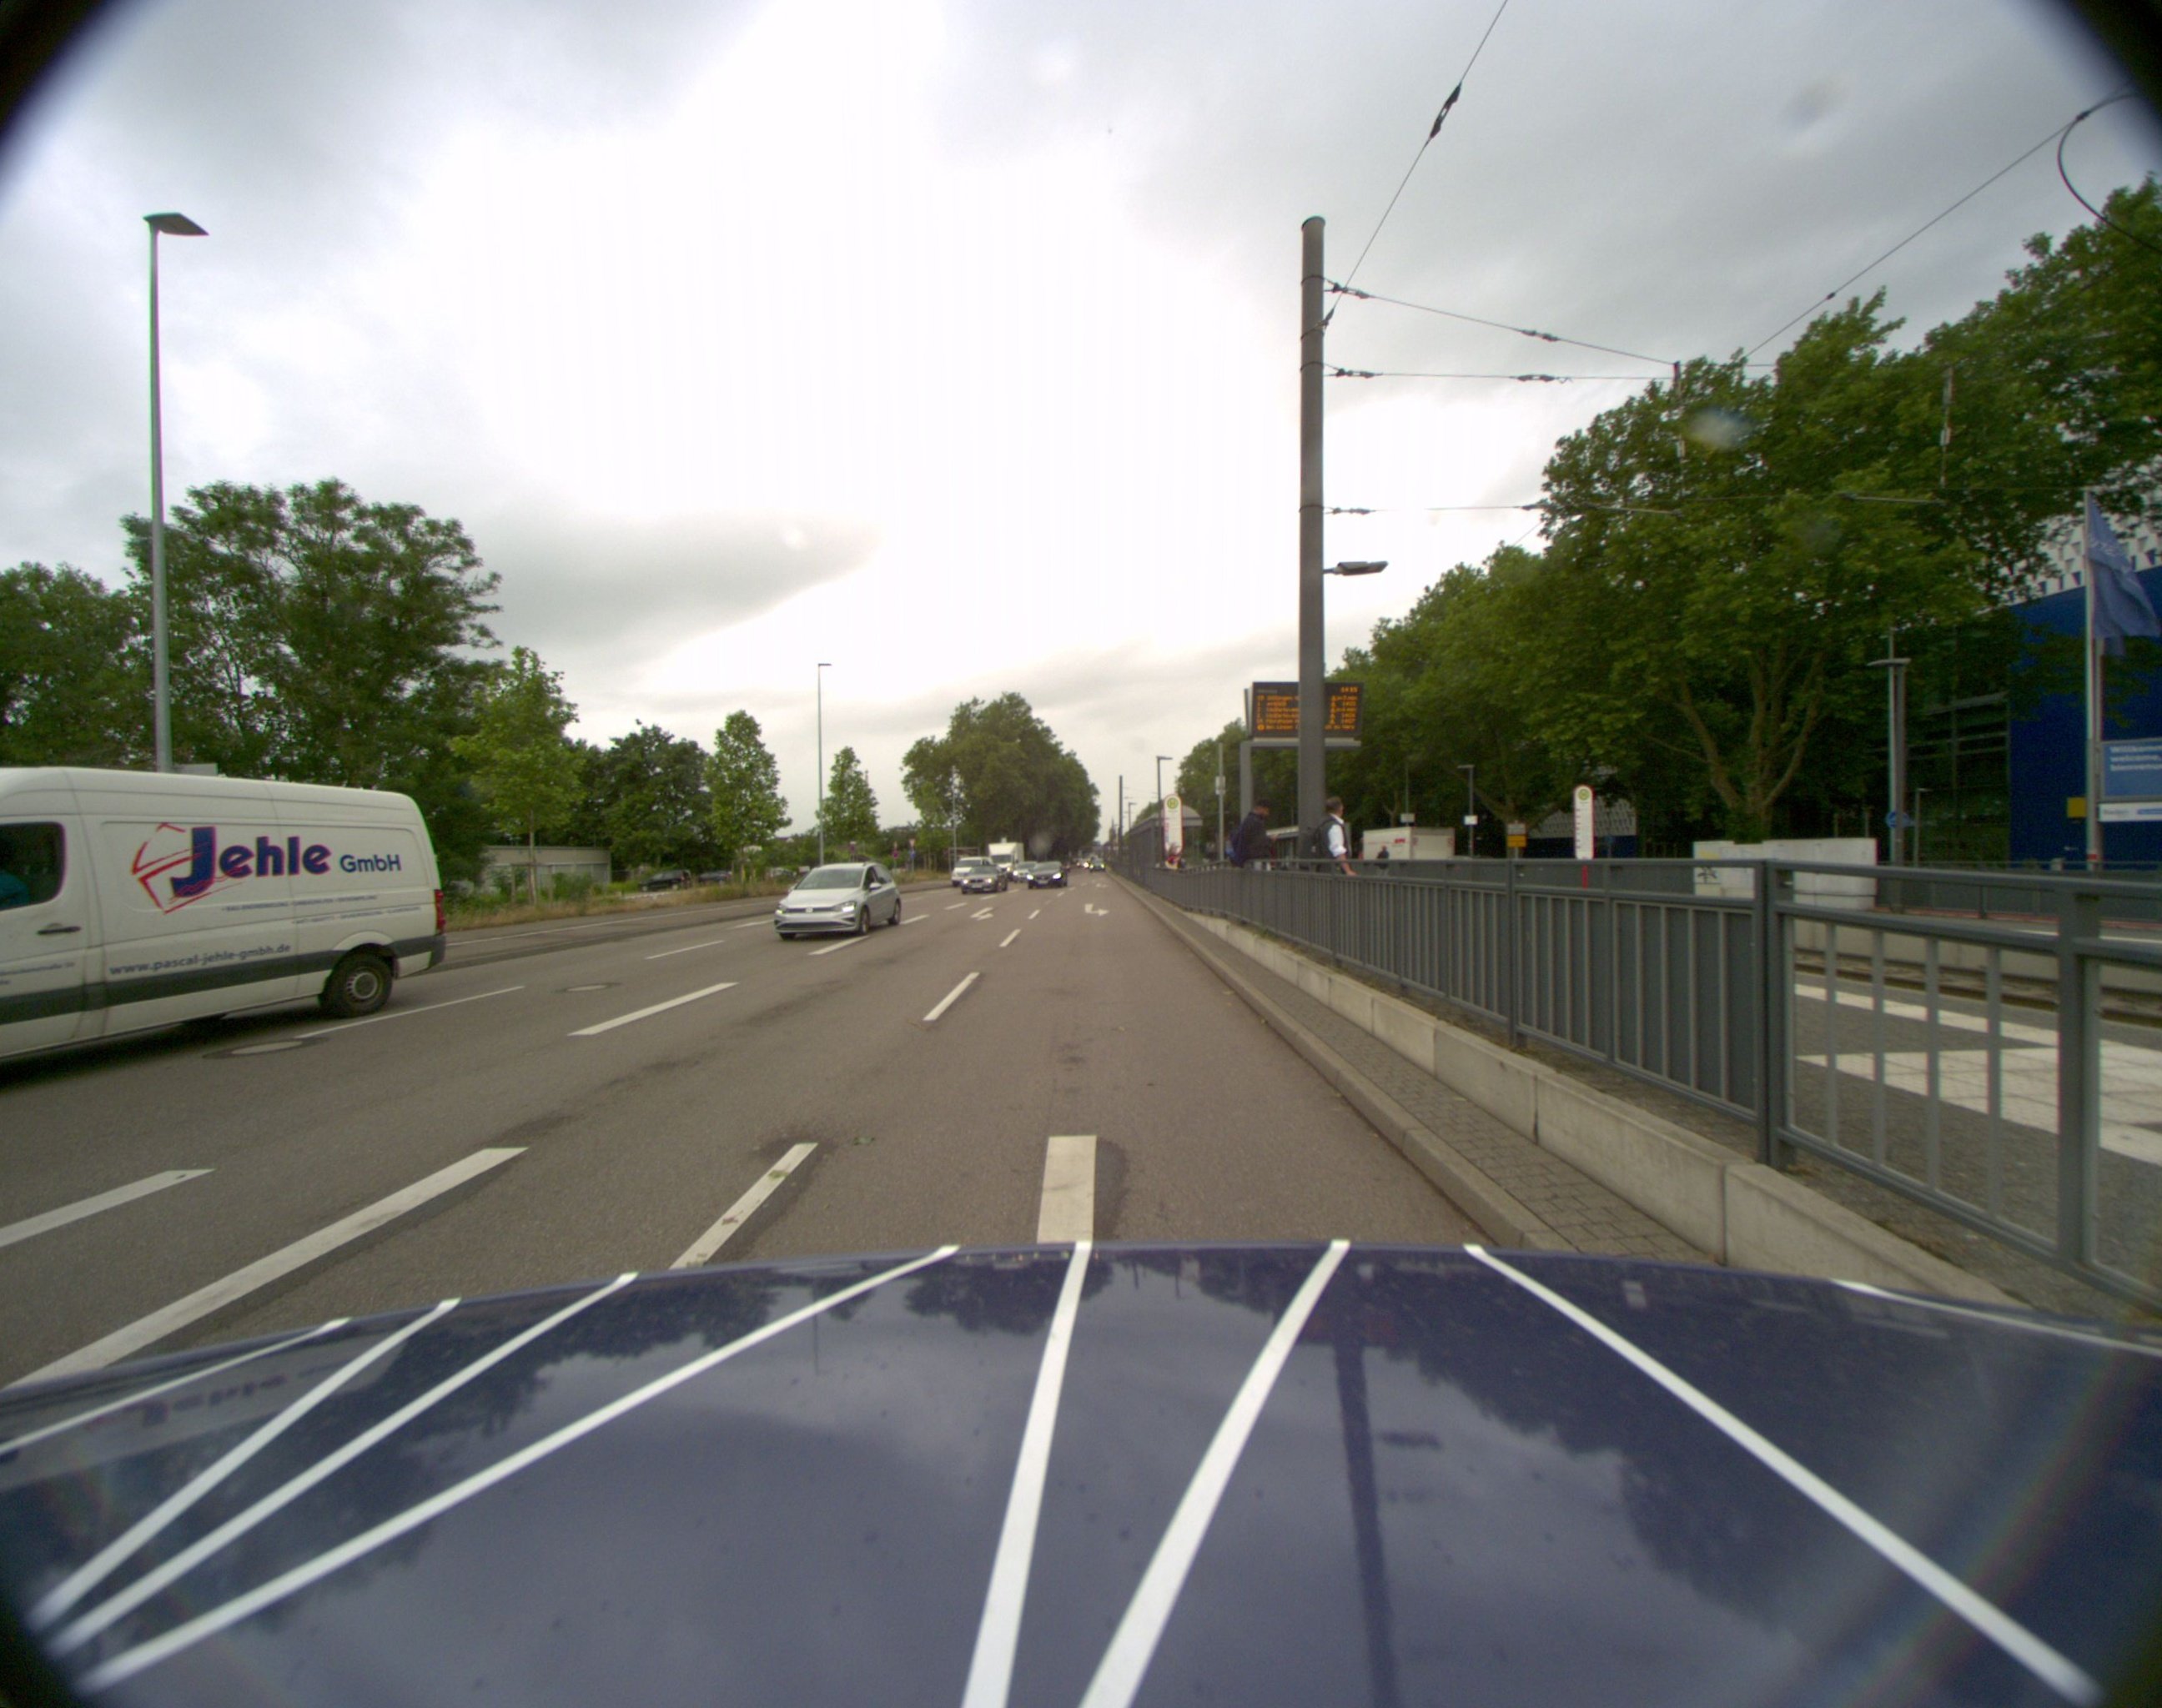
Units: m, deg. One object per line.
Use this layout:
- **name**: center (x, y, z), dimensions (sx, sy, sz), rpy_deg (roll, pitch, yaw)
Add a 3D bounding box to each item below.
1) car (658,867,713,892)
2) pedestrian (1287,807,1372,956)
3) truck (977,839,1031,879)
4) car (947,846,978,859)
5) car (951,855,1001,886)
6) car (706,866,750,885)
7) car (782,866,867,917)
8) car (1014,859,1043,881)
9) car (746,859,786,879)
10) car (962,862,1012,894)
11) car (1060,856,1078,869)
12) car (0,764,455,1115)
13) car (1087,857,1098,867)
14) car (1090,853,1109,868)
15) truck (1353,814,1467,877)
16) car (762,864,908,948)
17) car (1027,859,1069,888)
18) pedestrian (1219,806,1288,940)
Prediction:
- **car**: center (-33.613, 2.104, 64.691), dimensions (2.188, 2.001, 4.559), rpy_deg (1, -1, 2)
- **pedestrian**: center (2.687, 0.287, 8.284), dimensions (0.710, 1.551, 0.632), rpy_deg (-2, 1, 4)
- **truck**: center (-6.000, 0.365, 60.486), dimensions (2.824, 2.906, 6.547), rpy_deg (-2, 0, 7)
- **car**: center (-16.410, -0.215, 105.203), dimensions (3.998, 1.499, 1.810), rpy_deg (-2, 1, -3)
- **car**: center (-6.875, 1.051, 50.352), dimensions (2.098, 1.869, 5.122), rpy_deg (-2, 0, 5)
- **car**: center (-33.768, 2.042, 72.810), dimensions (2.123, 1.686, 4.650), rpy_deg (-2, -1, -2)
- **car**: center (-8.816, 1.246, 26.436), dimensions (1.655, 1.552, 3.771), rpy_deg (-2, 0, -1)
- **car**: center (-3.668, 1.131, 53.541), dimensions (1.682, 1.410, 3.850), rpy_deg (-2, 0, 1)
- **car**: center (-34.193, 1.648, 82.505), dimensions (2.316, 2.001, 4.559), rpy_deg (-2, -1, 1)
- **car**: center (-4.626, 1.162, 37.820), dimensions (1.875, 1.382, 4.343), rpy_deg (-2, 0, 0)
- **car**: center (-1.596, 1.121, 103.749), dimensions (1.891, 1.673, 4.001), rpy_deg (-2, 1, 6)
- **car**: center (-9.398, 0.681, 6.772), dimensions (2.663, 2.610, 5.899), rpy_deg (-2, 0, 0)
- **car**: center (2.081, 1.452, 133.310), dimensions (1.712, 1.664, 3.715), rpy_deg (0, 0, 4)
- **car**: center (2.318, 0.775, 93.662), dimensions (1.960, 1.674, 4.001), rpy_deg (-2, 1, 6)
- **truck**: center (21.446, -0.513, 50.347), dimensions (3.259, 3.642, 9.897), rpy_deg (1, 0, 1)
- **car**: center (-5.353, 1.065, 17.154), dimensions (1.859, 1.543, 4.201), rpy_deg (-2, 0, 0)
- **car**: center (-1.741, 1.035, 41.372), dimensions (1.998, 1.382, 4.343), rpy_deg (-2, 0, 0)
- **pedestrian**: center (2.325, 0.248, 10.289), dimensions (0.787, 1.732, 0.587), rpy_deg (-2, 1, 5)
